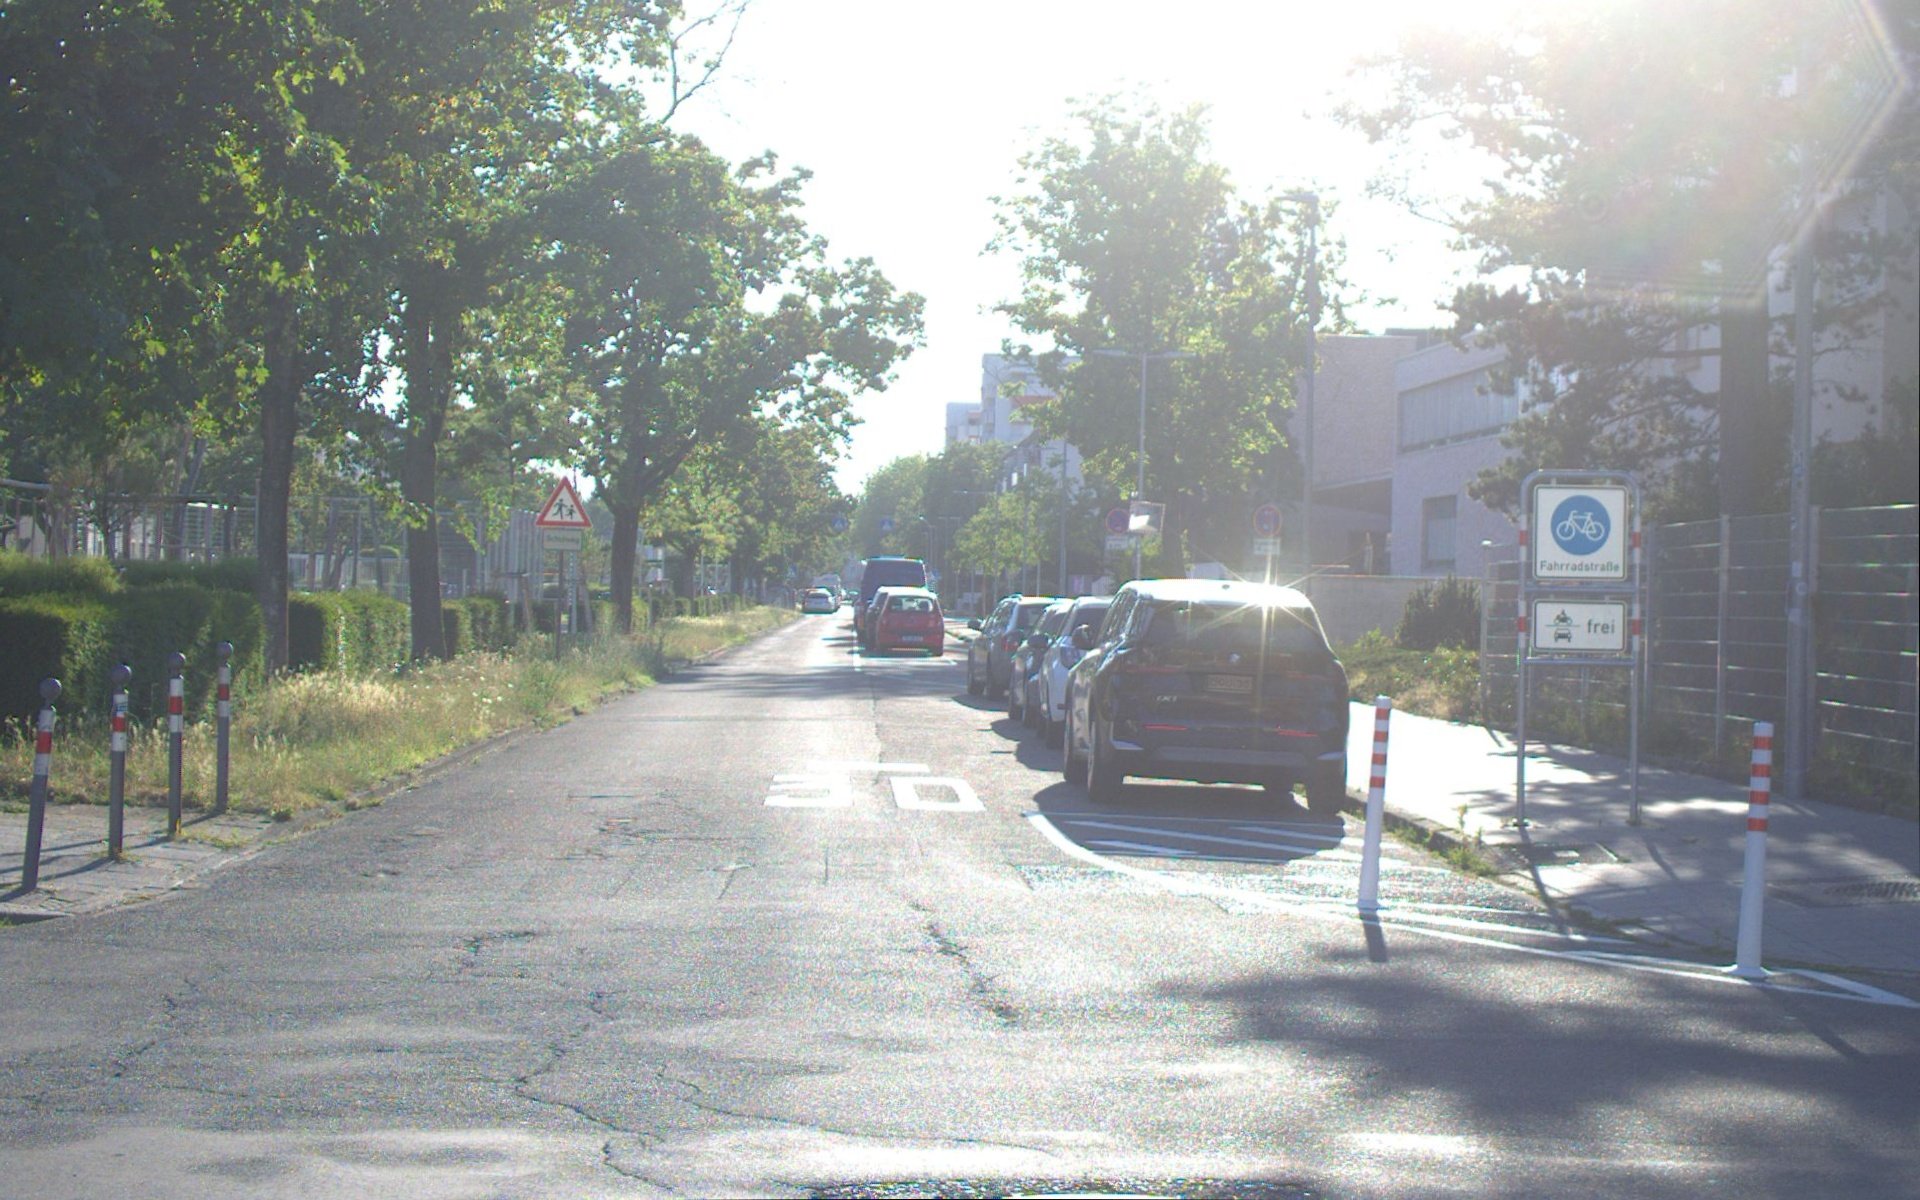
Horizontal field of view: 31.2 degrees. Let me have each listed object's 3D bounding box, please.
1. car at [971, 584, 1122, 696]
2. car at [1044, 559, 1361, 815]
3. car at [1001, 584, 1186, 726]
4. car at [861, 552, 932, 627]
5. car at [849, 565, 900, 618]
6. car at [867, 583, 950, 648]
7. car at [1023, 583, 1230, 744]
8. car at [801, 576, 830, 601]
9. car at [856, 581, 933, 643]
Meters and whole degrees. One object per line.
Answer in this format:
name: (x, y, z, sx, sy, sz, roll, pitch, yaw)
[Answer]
car: (1.182, 0.542, 48.604, 1.765, 1.521, 3.773, 0, 0, -4)
car: (1.714, 0.590, 25.630, 1.817, 1.636, 4.217, 4, 0, -2)
car: (1.482, 0.589, 39.402, 1.729, 1.513, 3.760, 1, 0, -3)
car: (-1.882, -0.319, 100.987, 1.993, 2.116, 4.000, 1, 0, -2)
car: (-3.484, -0.350, 140.260, 1.993, 2.116, 4.000, 1, 0, -2)
car: (-1.264, 0.354, 83.381, 1.756, 1.513, 3.760, 1, 0, -4)
car: (1.610, 0.594, 34.431, 1.765, 1.521, 3.773, 0, 0, -2)
car: (-9.680, -0.783, 230.781, 1.865, 1.612, 4.000, 1, 0, -3)
car: (-1.693, 0.293, 87.894, 1.729, 1.513, 3.760, 1, 0, -4)
